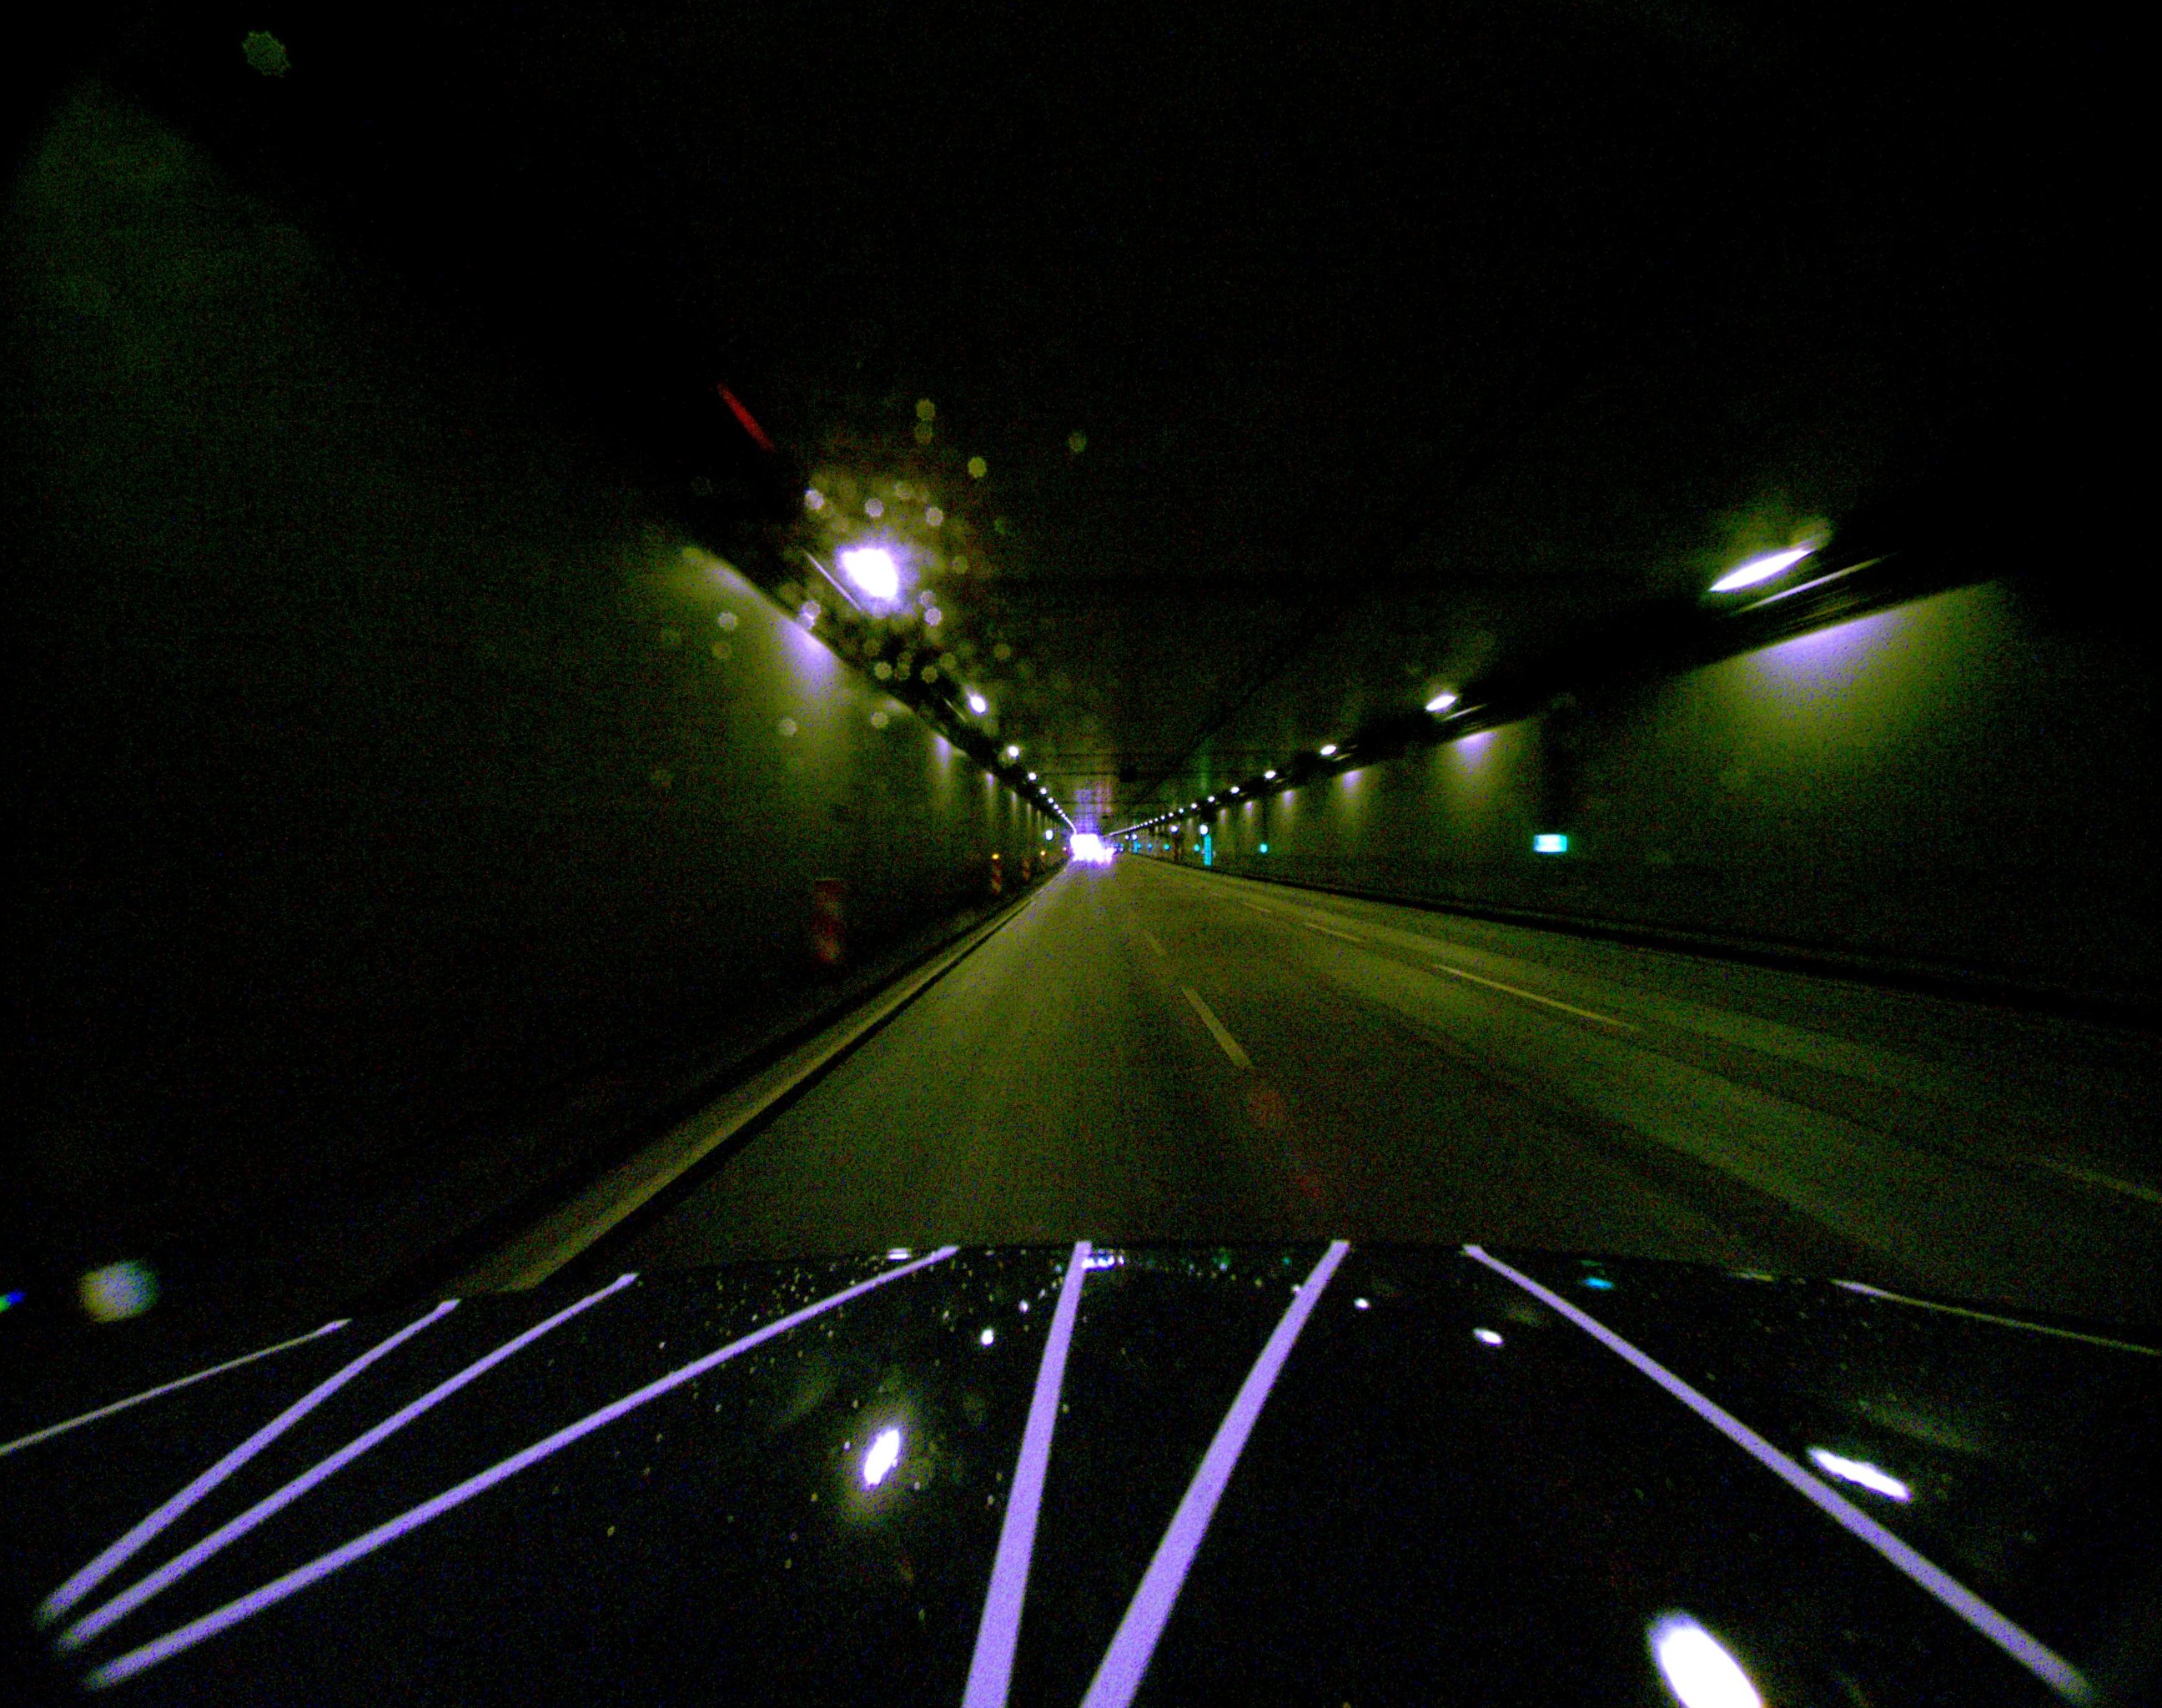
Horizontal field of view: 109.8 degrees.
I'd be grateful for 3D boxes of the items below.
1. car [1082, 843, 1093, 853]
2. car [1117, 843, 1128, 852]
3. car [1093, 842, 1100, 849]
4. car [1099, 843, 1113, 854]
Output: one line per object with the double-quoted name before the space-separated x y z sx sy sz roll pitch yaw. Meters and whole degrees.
"car" 1.137 -1.038 136.470 1.998 1.686 3.999 -1 1 1
"car" 7.857 -1.181 143.472 1.998 1.685 4.000 0 0 1
"car" 4.389 -2.446 213.106 1.998 1.756 3.999 -1 1 1
"car" 3.990 -0.940 121.322 1.999 1.686 3.999 -3 1 0
